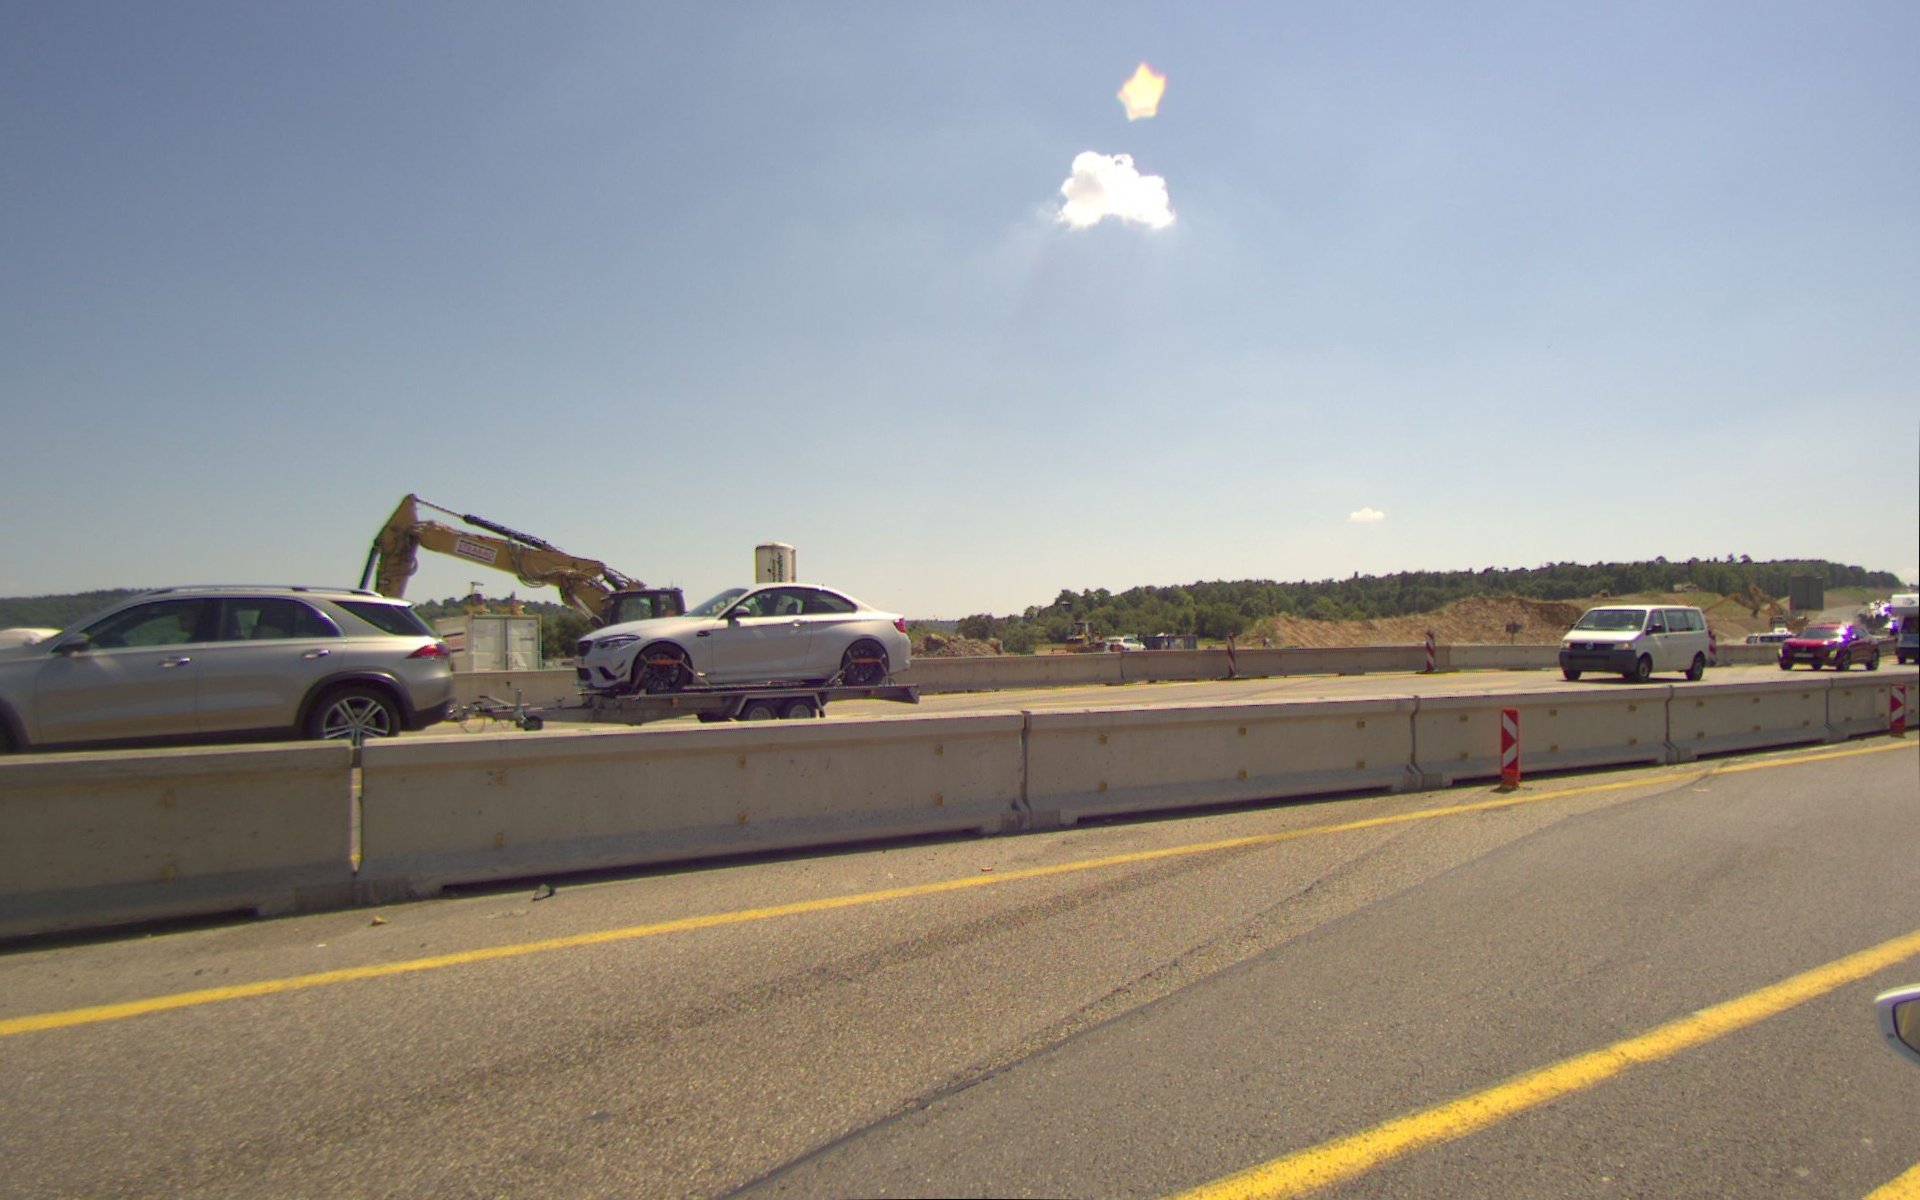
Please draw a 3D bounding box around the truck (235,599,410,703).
[{"bbox_3d":[-20.237,1.557,32.025,2.314,3.083,4.244,-2,-2,40],"label":"truck"}]

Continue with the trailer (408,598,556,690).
[{"bbox_3d":[-17.276,1.540,36.203,5.500,3.036,2.869,-2,-2,41],"label":"trailer"}]

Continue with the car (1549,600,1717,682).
[{"bbox_3d":[17.851,1.040,26.588,4.836,1.979,1.856,0,-2,-32],"label":"car"}]

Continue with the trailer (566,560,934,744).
[{"bbox_3d":[-2.684,0.617,13.210,4.389,2.049,1.855,0,-2,-34],"label":"trailer"}]

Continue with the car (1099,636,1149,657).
[{"bbox_3d":[12.056,3.388,73.560,1.592,1.427,4.426,-2,-2,39],"label":"car"}]

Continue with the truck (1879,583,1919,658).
[{"bbox_3d":[42.602,0.869,43.971,7.185,3.112,2.422,1,-2,-39],"label":"truck"}]

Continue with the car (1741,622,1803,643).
[{"bbox_3d":[59.638,2.393,73.825,3.137,1.474,1.548,-1,-1,17],"label":"car"}]

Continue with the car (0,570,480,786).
[{"bbox_3d":[-7.582,0.721,10.012,4.855,1.830,1.855,0,-3,-34],"label":"car"}]

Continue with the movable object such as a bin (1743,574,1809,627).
[{"bbox_3d":[125.090,0.161,154.085,7.558,7.815,3.425,-2,-2,44],"label":"movable object such as a bin"}]

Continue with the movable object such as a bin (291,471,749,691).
[{"bbox_3d":[-9.812,-0.327,23.363,9.201,4.387,2.915,0,-1,-26],"label":"movable object such as a bin"}]

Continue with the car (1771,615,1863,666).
[{"bbox_3d":[29.482,1.366,34.523,4.300,1.649,1.706,1,-2,-40],"label":"car"}]

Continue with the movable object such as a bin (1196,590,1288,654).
[{"bbox_3d":[14.483,1.122,51.583,4.217,3.182,1.989,0,-1,-24],"label":"movable object such as a bin"}]
